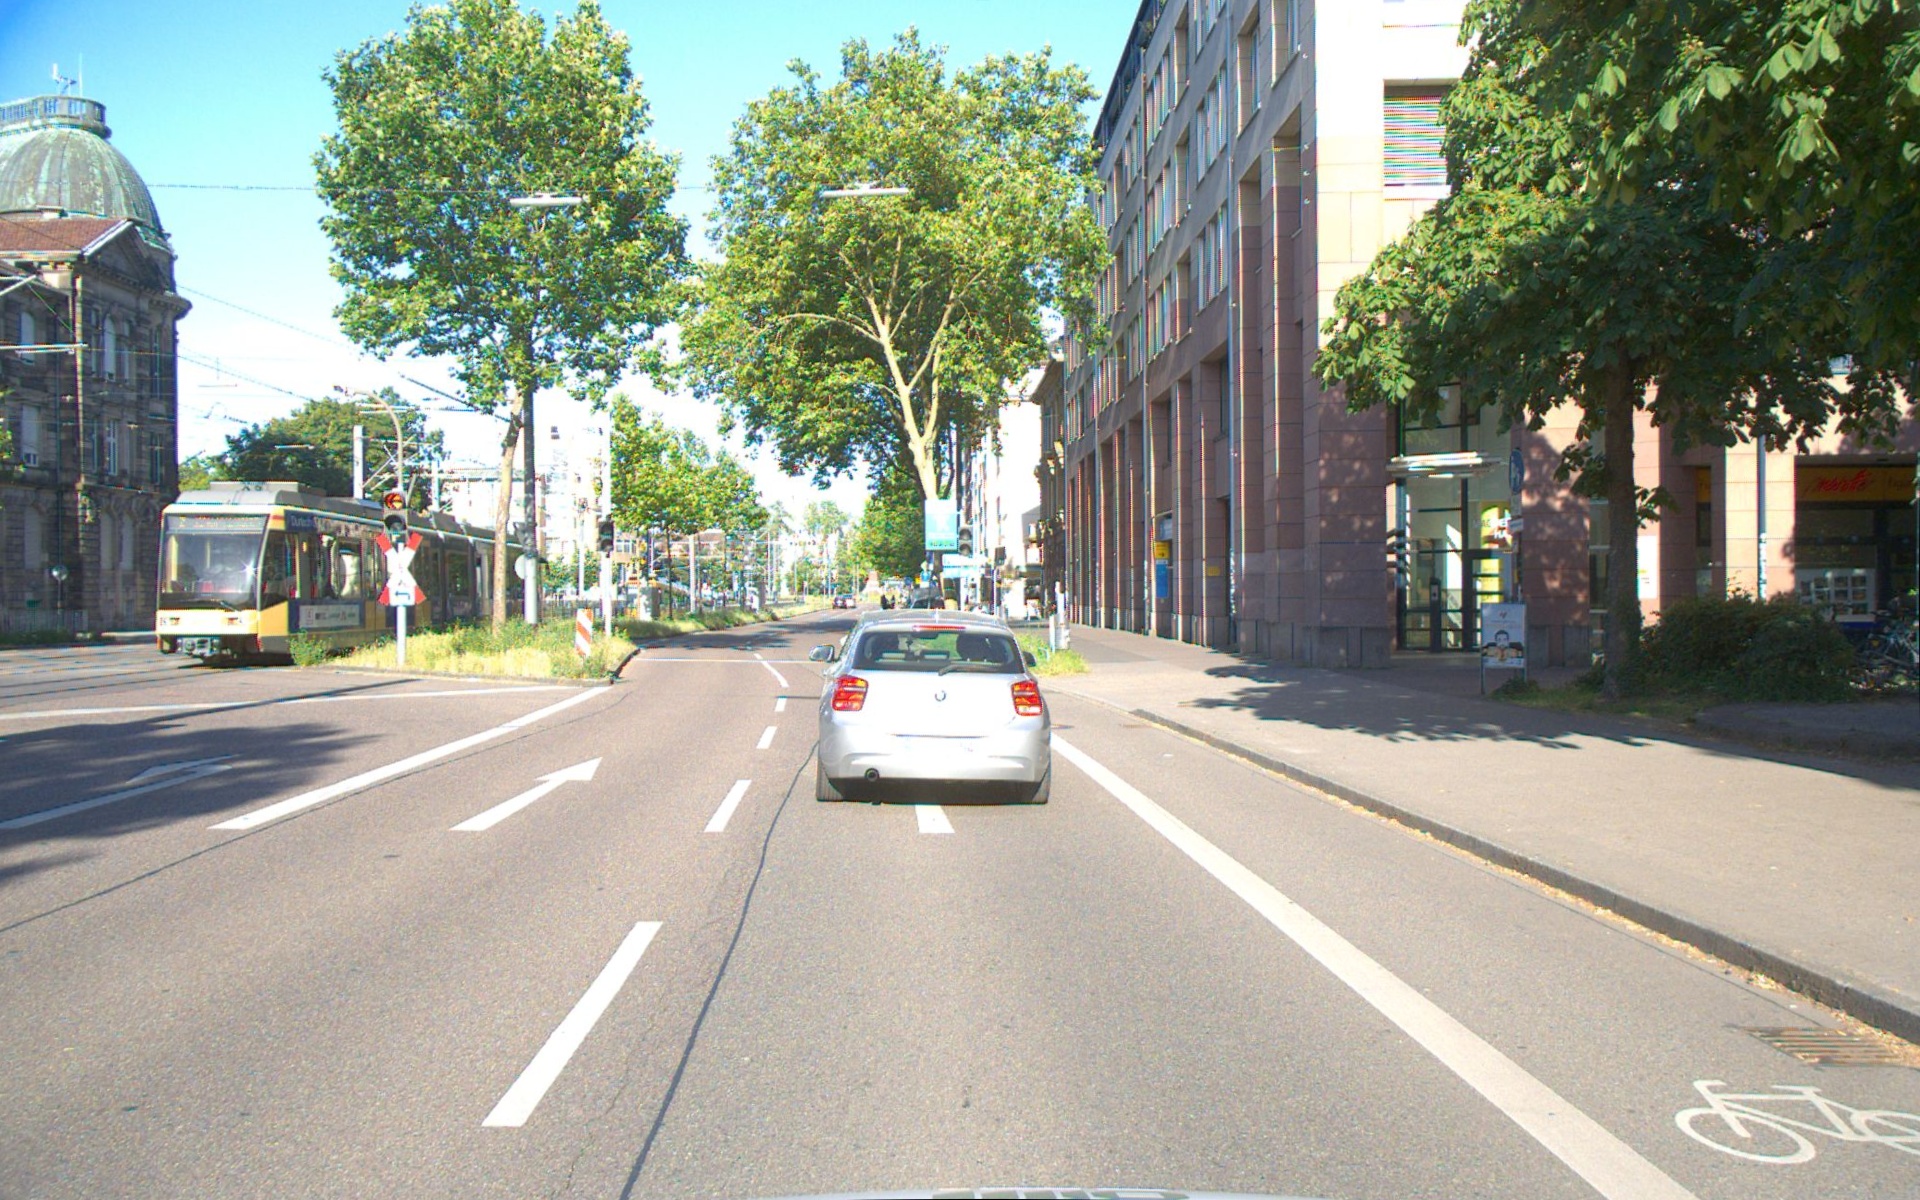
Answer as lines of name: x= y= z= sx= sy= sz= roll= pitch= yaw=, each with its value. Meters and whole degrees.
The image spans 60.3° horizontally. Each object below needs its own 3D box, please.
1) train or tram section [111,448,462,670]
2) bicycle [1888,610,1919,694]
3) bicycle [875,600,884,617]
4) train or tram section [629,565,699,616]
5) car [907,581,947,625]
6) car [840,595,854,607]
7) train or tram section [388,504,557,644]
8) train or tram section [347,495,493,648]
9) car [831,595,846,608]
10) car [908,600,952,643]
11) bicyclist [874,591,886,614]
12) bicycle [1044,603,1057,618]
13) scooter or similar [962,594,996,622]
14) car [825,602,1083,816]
train or tram section: x=-14.145 y=-0.729 z=36.619 sx=2.871 sy=3.878 sz=14.260 roll=1 pitch=0 yaw=-4
bicycle: x=11.842 y=0.628 z=20.093 sx=0.410 sy=1.014 sz=2.223 roll=0 pitch=-1 yaw=14
bicycle: x=-5.329 y=0.584 z=109.572 sx=0.489 sy=1.107 sz=1.996 roll=1 pitch=0 yaw=-2
train or tram section: x=-22.556 y=-0.733 z=127.375 sx=2.905 sy=3.544 sz=21.202 roll=1 pitch=0 yaw=-4
car: x=-1.662 y=0.143 z=82.123 sx=1.819 sy=2.049 sz=4.721 roll=1 pitch=0 yaw=-2
car: x=-13.963 y=0.133 z=204.233 sx=1.611 sy=1.446 sz=3.998 roll=1 pitch=0 yaw=-2
train or tram section: x=-15.341 y=-0.745 z=53.001 sx=2.895 sy=3.965 sz=10.792 roll=1 pitch=0 yaw=-4
train or tram section: x=-14.823 y=-0.745 z=45.698 sx=2.897 sy=3.965 sz=3.862 roll=1 pitch=0 yaw=-5
car: x=-14.408 y=0.138 z=196.105 sx=1.693 sy=1.496 sz=4.406 roll=0 pitch=0 yaw=-5
car: x=-1.165 y=0.827 z=65.406 sx=1.634 sy=1.598 sz=4.279 roll=1 pitch=0 yaw=-1
bicyclist: x=-5.284 y=0.168 z=109.572 sx=0.769 sy=1.558 sz=0.894 roll=1 pitch=0 yaw=-2
bicycle: x=4.995 y=0.574 z=91.003 sx=0.538 sy=0.787 sz=1.662 roll=-2 pitch=0 yaw=-3
scooter or similar: x=0.875 y=0.365 z=74.666 sx=1.509 sy=1.259 sz=0.449 roll=-1 pitch=0 yaw=-2
car: x=-0.092 y=0.760 z=13.471 sx=1.761 sy=1.439 sz=3.999 roll=1 pitch=0 yaw=-2
